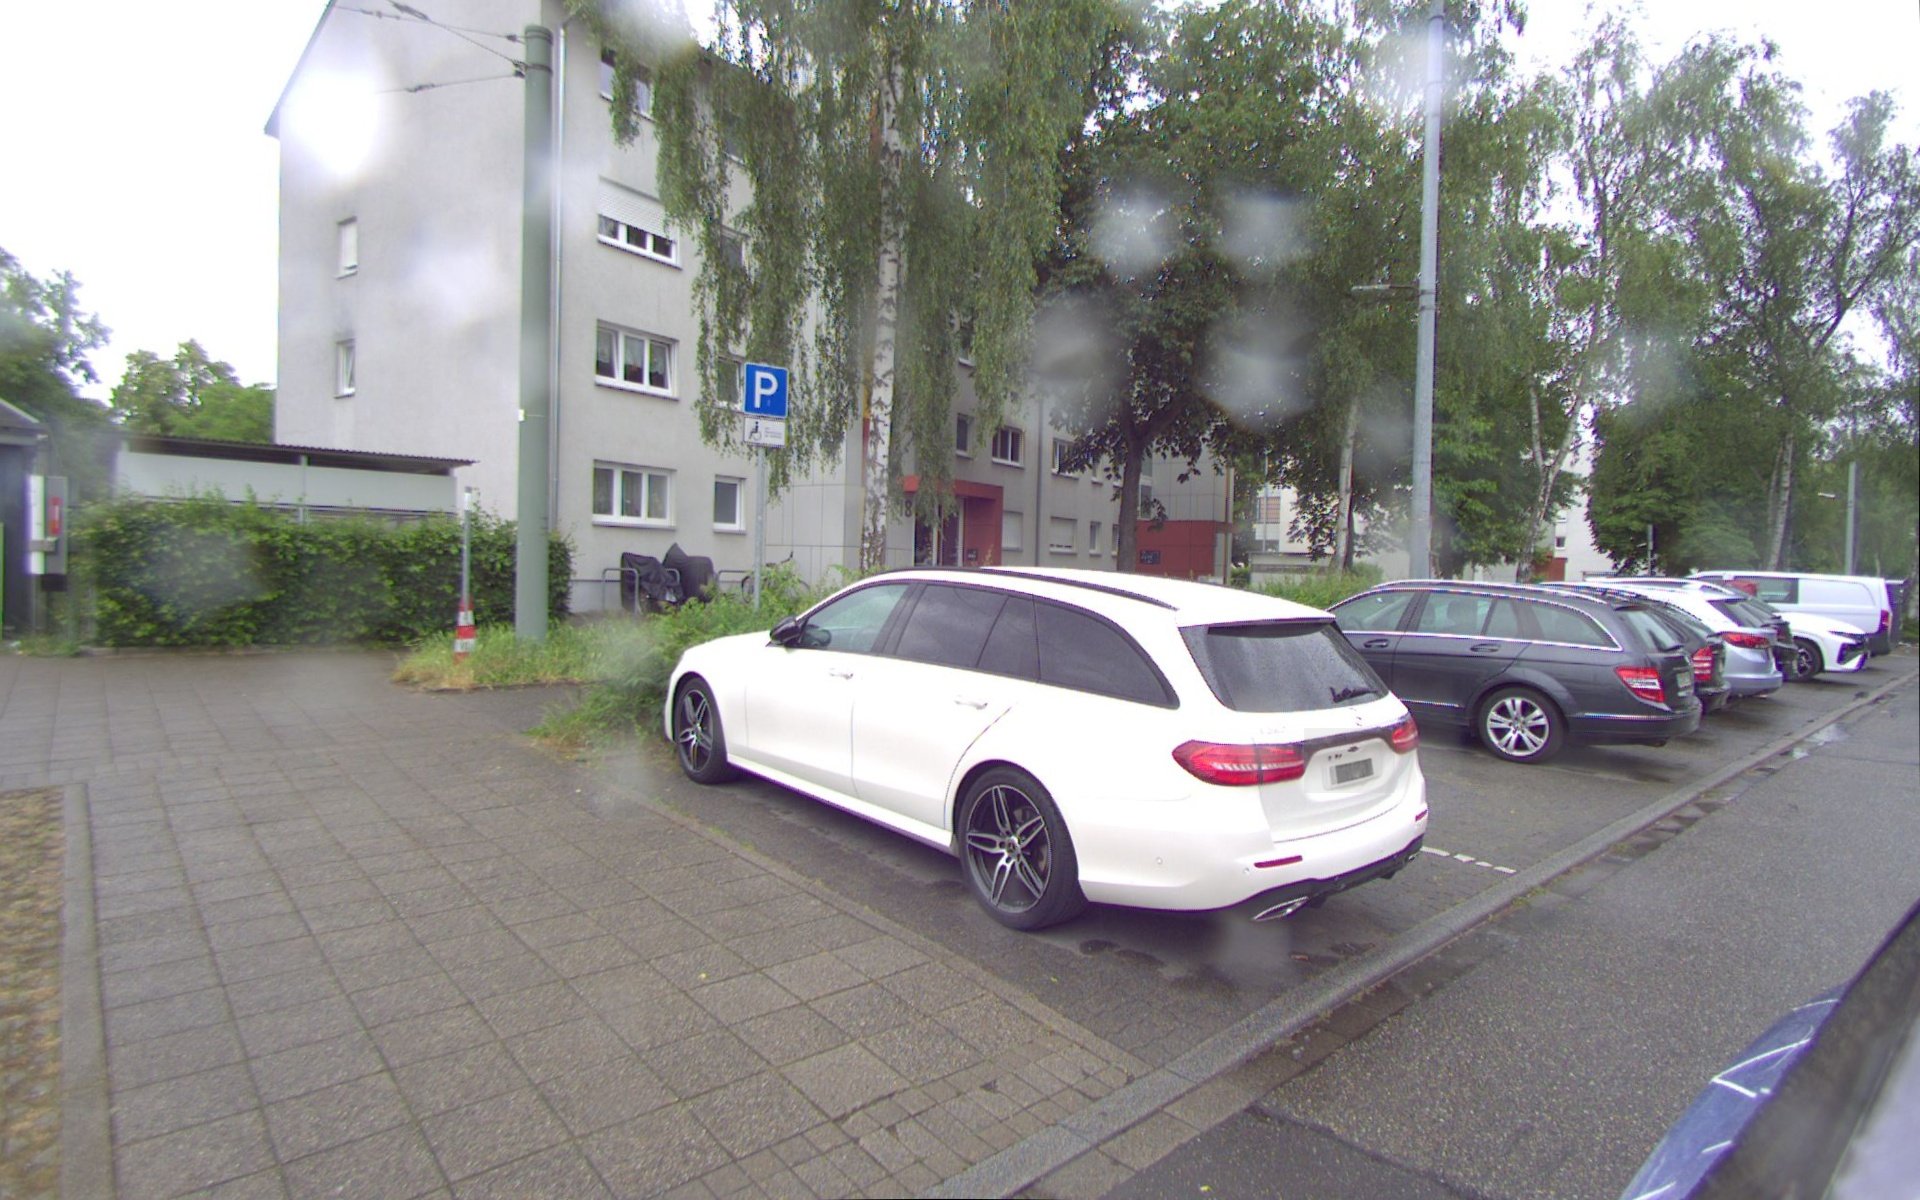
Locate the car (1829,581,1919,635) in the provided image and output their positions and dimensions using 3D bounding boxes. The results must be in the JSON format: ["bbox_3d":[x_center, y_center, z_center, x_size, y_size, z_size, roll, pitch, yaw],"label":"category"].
[{"bbox_3d":[34.457,0.265,36.822,1.866,1.937,3.998,-1,0,-36],"label":"car"}]

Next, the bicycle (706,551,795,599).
[{"bbox_3d":[-4.521,-0.530,21.968,0.701,1.005,1.918,0,0,37],"label":"bicycle"}]

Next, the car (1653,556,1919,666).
[{"bbox_3d":[17.549,0.136,21.661,4.172,1.888,1.654,7,5,43],"label":"car"}]

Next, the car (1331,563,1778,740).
[{"bbox_3d":[6.576,0.419,11.538,1.653,1.456,4.044,-1,5,-43],"label":"car"}]

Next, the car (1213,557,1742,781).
[{"bbox_3d":[4.605,0.434,9.477,1.653,1.456,4.044,-1,5,-43],"label":"car"}]

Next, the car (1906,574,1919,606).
[{"bbox_3d":[53.224,-0.538,53.807,1.866,1.701,3.998,-1,1,-36],"label":"car"}]

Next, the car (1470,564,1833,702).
[{"bbox_3d":[9.870,0.345,14.692,1.653,1.514,4.044,-1,5,-43],"label":"car"}]

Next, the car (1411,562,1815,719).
[{"bbox_3d":[8.224,0.374,13.039,1.653,1.514,4.044,-1,5,-43],"label":"car"}]

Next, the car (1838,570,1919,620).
[{"bbox_3d":[37.790,-0.193,40.282,1.866,1.937,3.998,-1,0,-36],"label":"car"}]

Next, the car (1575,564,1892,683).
[{"bbox_3d":[13.703,0.308,18.161,1.651,1.637,4.181,0,5,-40],"label":"car"}]

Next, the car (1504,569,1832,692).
[{"bbox_3d":[11.306,0.372,16.374,1.653,1.514,4.044,-1,5,-43],"label":"car"}]

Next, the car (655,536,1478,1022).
[{"bbox_3d":[0.083,0.475,5.602,1.651,1.456,4.623,-1,5,-41],"label":"car"}]
